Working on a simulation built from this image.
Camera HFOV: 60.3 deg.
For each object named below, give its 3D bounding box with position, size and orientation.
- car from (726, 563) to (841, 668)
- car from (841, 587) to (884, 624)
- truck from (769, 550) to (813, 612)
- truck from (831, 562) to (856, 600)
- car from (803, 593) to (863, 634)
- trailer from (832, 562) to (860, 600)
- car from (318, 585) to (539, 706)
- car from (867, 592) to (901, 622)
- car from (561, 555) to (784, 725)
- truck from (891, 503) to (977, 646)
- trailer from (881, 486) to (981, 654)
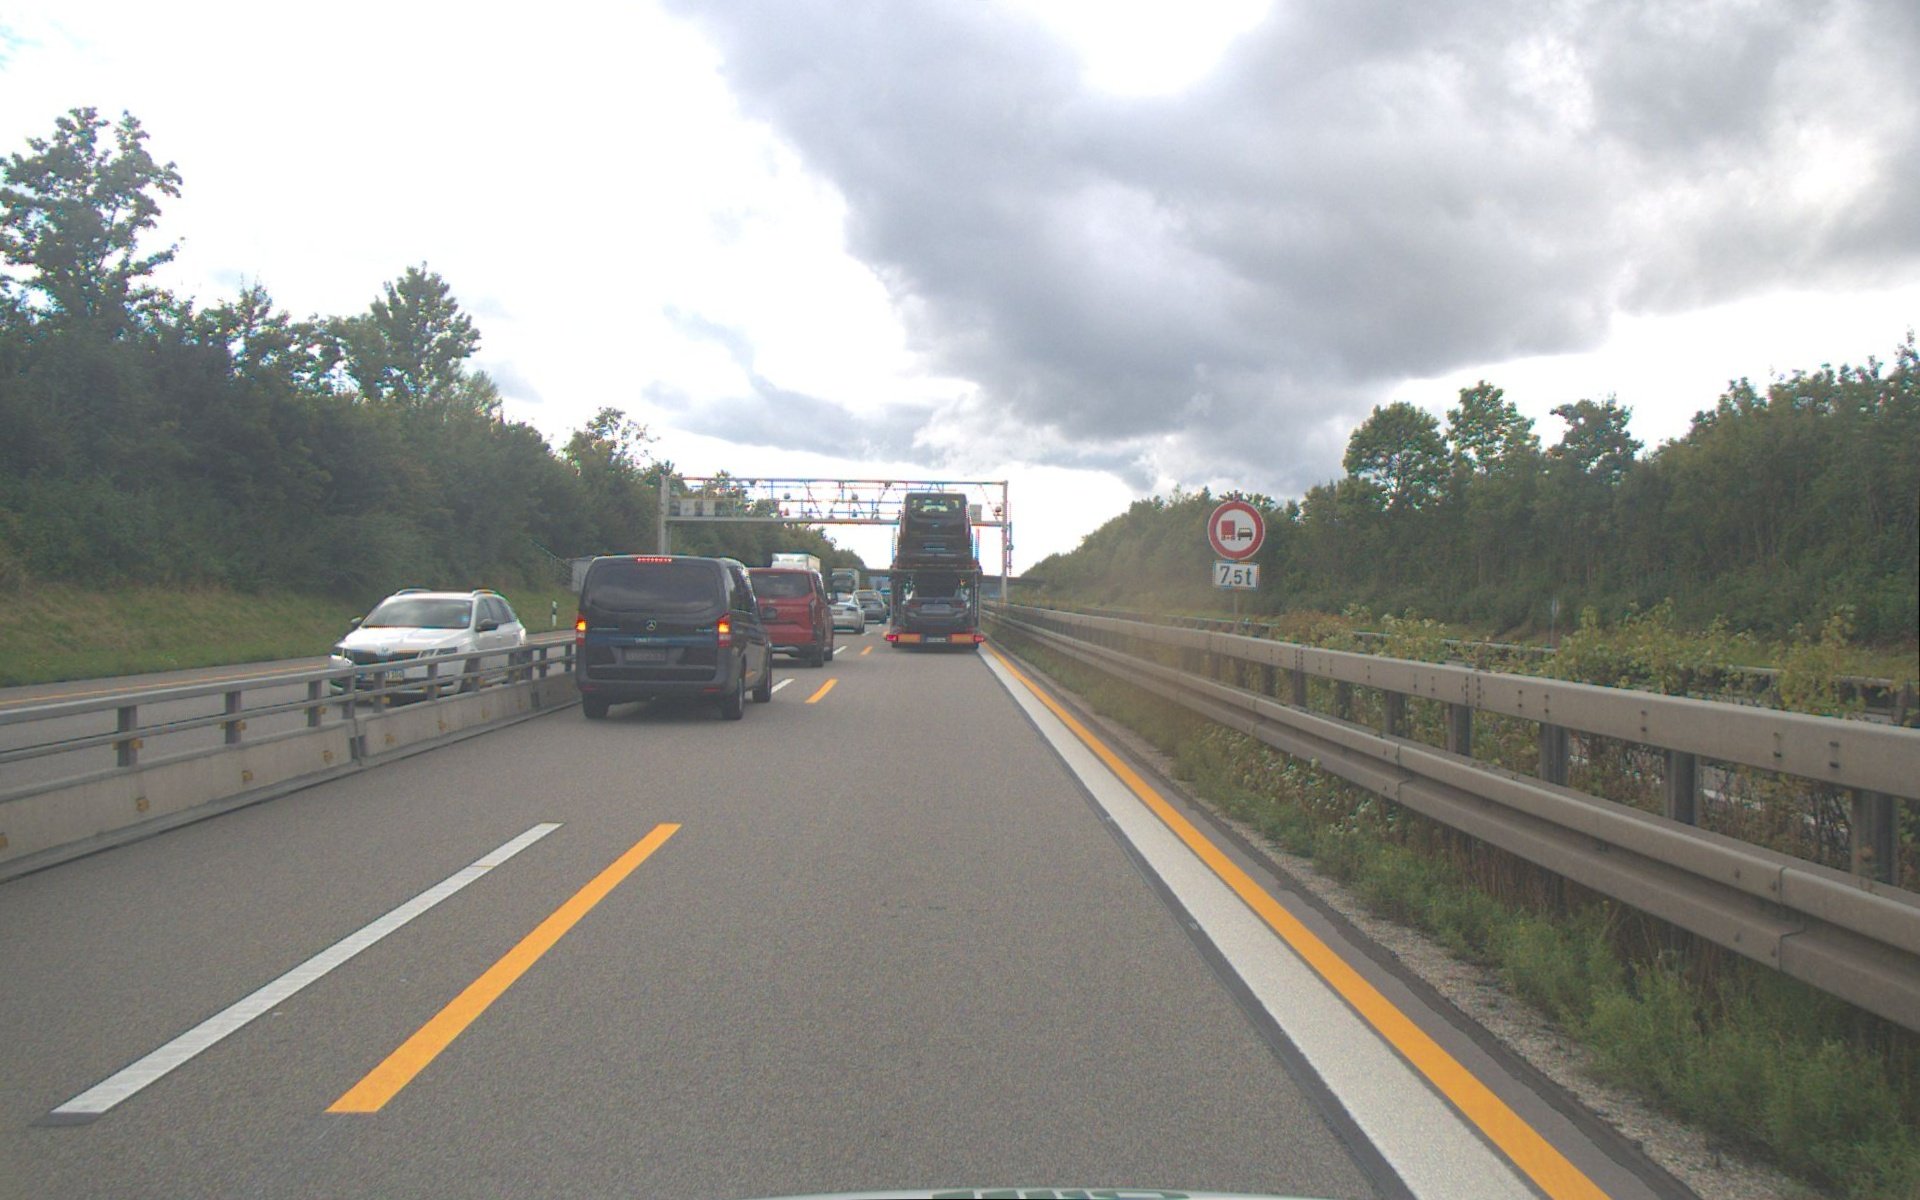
[{"bbox_3d":[-3.631,0.304,34.692,1.990,2.049,4.577,0,0,-1],"label":"car"},{"bbox_3d":[-4.806,0.256,81.795,1.990,1.788,4.576,0,0,-2],"label":"car"},{"bbox_3d":[-11.835,-1.320,116.267,2.546,4.227,5.619,1,0,-1],"label":"truck"},{"bbox_3d":[-13.195,-2.145,187.790,2.546,4.227,5.619,1,0,-1],"label":"truck"},{"bbox_3d":[-4.669,0.484,61.231,1.990,1.456,4.576,0,0,-2],"label":"car"},{"bbox_3d":[-13.347,-2.226,194.503,2.546,4.227,13.988,1,1,-1],"label":"trailer"},{"bbox_3d":[-7.121,0.553,22.627,1.661,1.479,4.550,1,0,-2],"label":"car"},{"bbox_3d":[-4.528,0.405,99.045,1.990,1.788,4.576,0,0,-2],"label":"car"},{"bbox_3d":[-3.471,0.438,21.095,1.953,1.875,5.608,0,0,-1],"label":"car"},{"bbox_3d":[-0.789,-0.757,51.714,2.464,4.177,5.684,1,0,-1],"label":"truck"},{"bbox_3d":[-0.761,-0.752,46.975,2.464,4.177,11.112,1,0,0],"label":"trailer"}]
